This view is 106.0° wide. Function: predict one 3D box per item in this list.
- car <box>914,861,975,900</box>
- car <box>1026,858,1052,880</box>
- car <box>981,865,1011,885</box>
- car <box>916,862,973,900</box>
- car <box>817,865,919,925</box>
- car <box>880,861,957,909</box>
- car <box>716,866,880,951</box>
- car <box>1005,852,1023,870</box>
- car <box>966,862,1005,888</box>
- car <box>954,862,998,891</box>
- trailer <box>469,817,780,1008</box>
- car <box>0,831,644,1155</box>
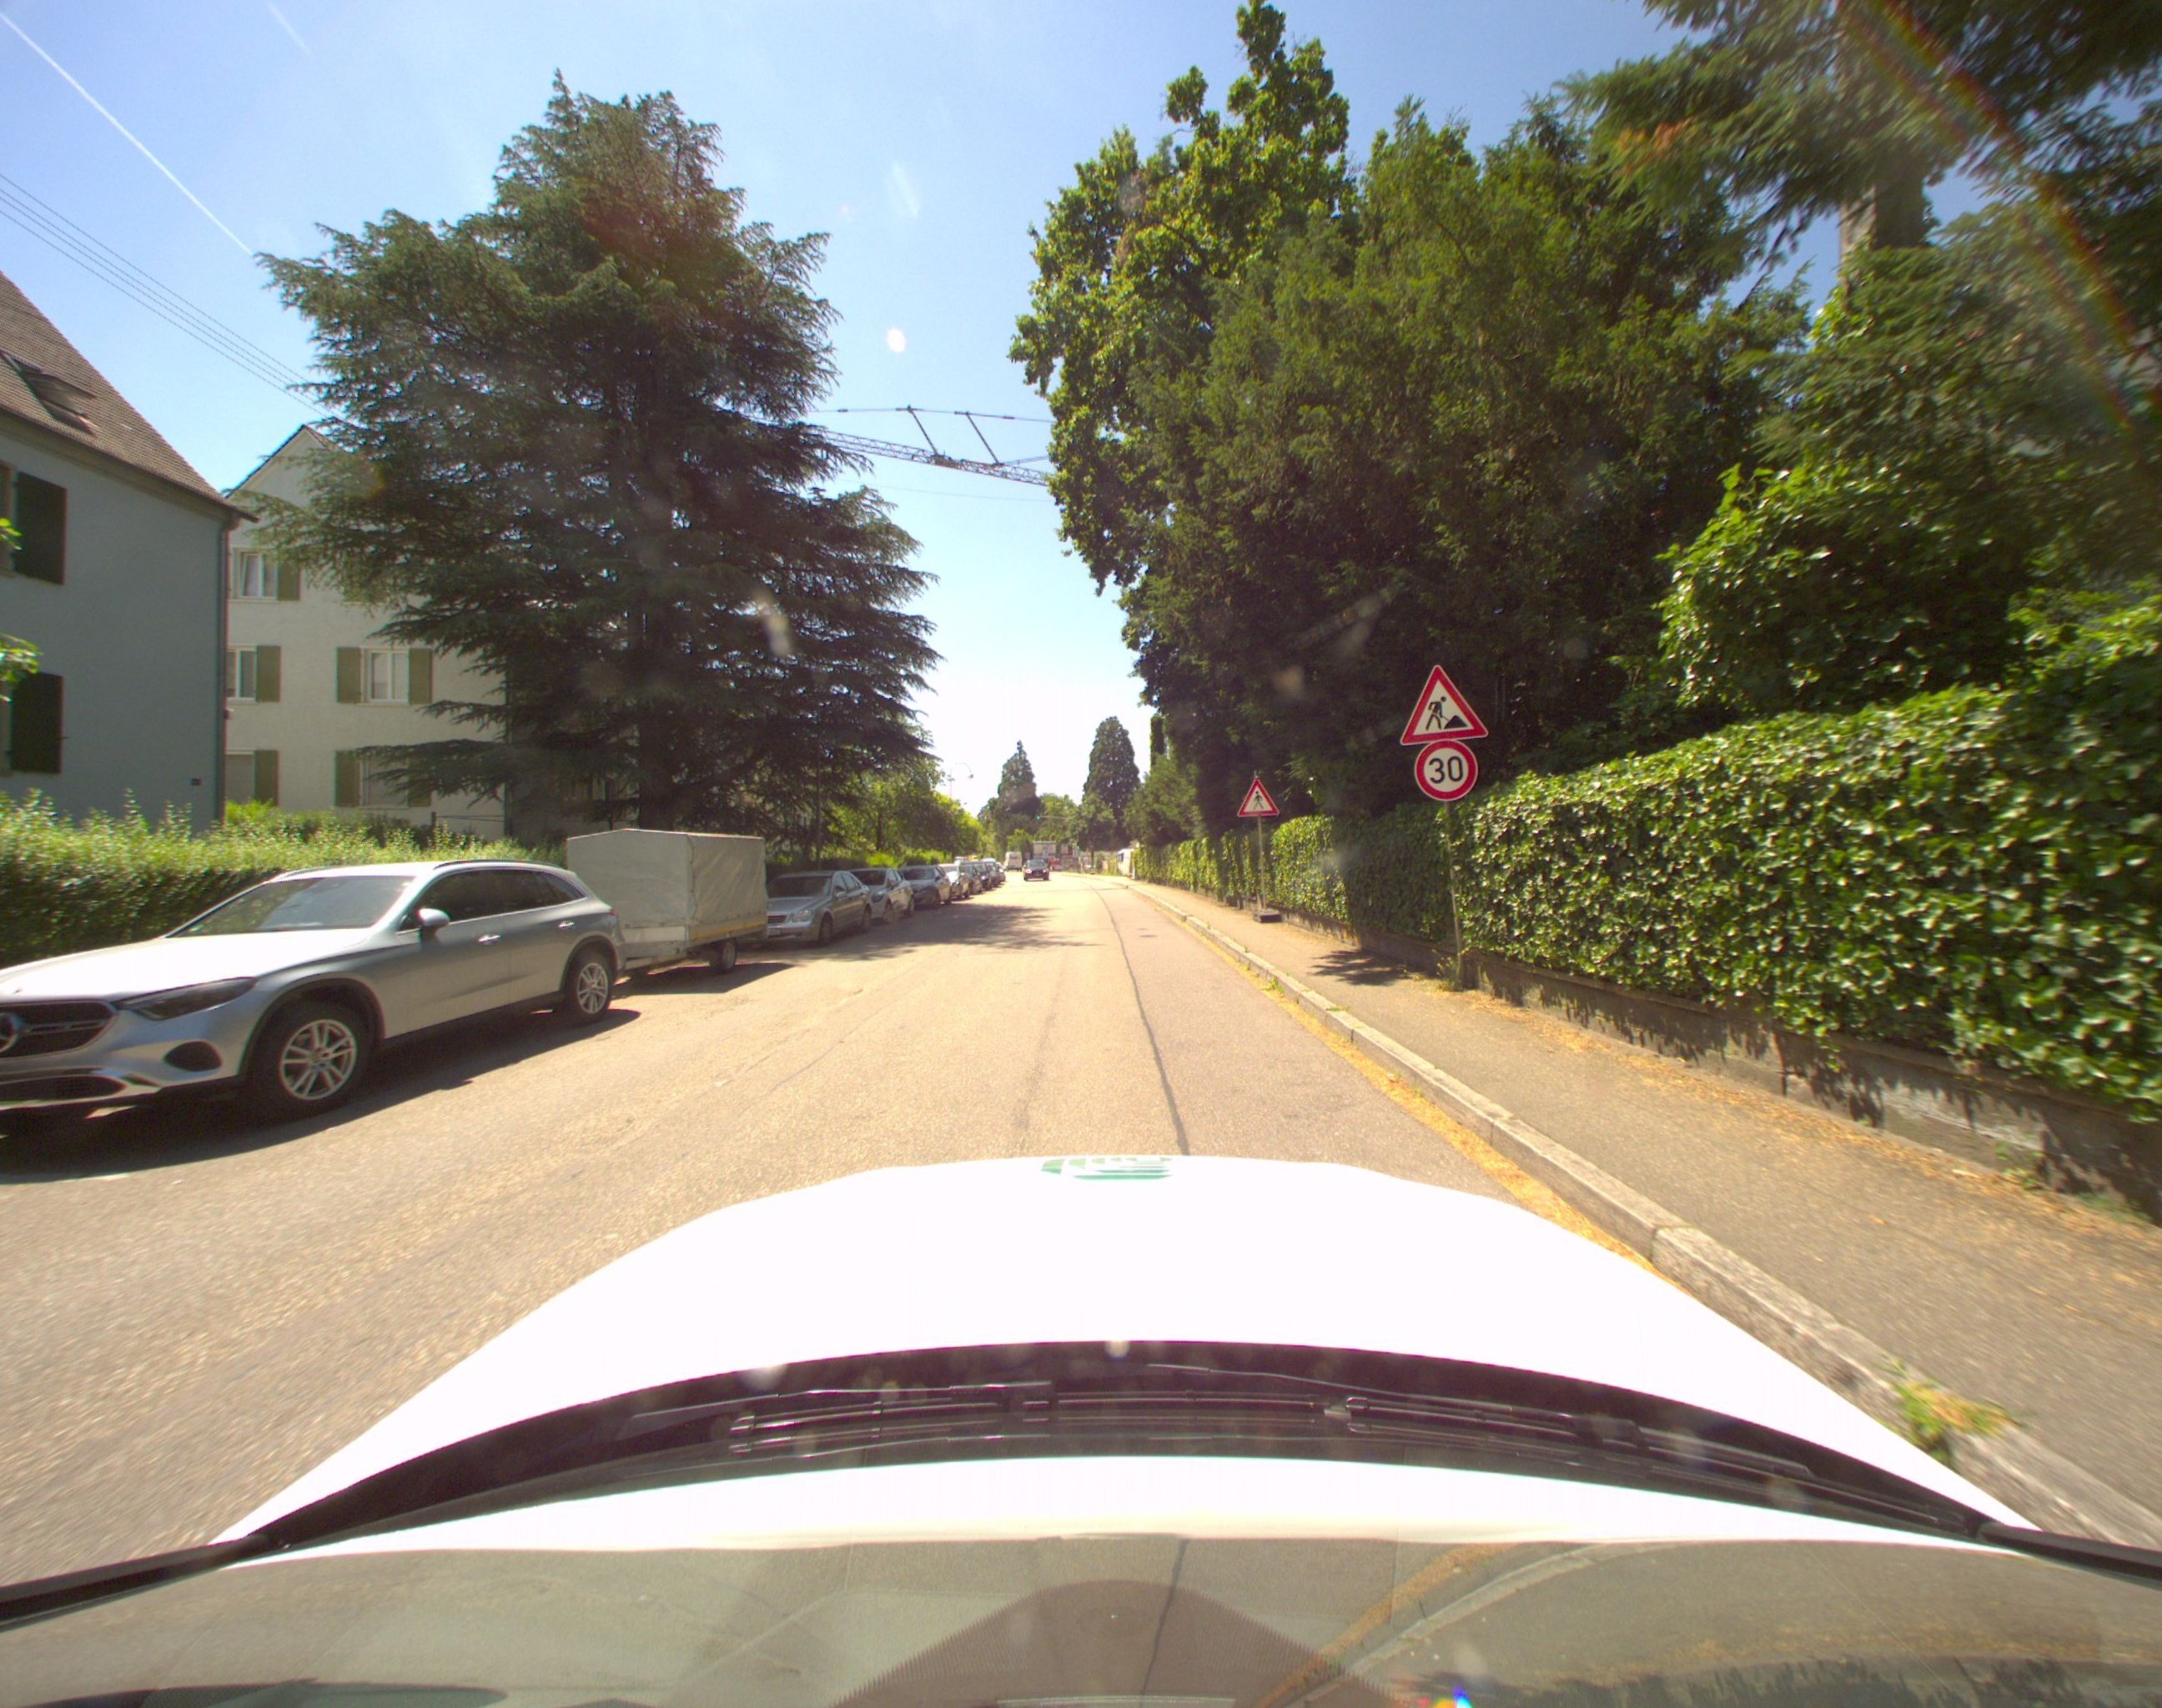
[{"bbox_3d":[-5.574,1.057,33.636,1.682,1.444,4.136,-1,-1,1],"label":"car"},{"bbox_3d":[-3.073,1.104,60.320,1.847,1.584,4.132,-1,-1,-2],"label":"car"},{"bbox_3d":[-6.337,1.561,61.115,1.682,1.444,4.136,-1,-1,1],"label":"car"},{"bbox_3d":[-5.580,1.069,33.714,1.684,1.449,3.998,0,-1,-1],"label":"car"},{"bbox_3d":[-5.550,1.024,21.707,1.577,1.390,3.884,-1,-1,1],"label":"car"},{"bbox_3d":[-5.493,1.006,27.959,1.682,1.444,4.137,-1,0,1],"label":"car"},{"bbox_3d":[-5.578,1.002,16.679,1.703,1.439,4.323,-2,-1,1],"label":"car"},{"bbox_3d":[-9.016,0.901,109.064,2.142,2.315,4.839,-1,-1,-8],"label":"car"},{"bbox_3d":[-5.704,1.228,49.087,1.682,1.444,4.136,-1,-1,1],"label":"car"},{"bbox_3d":[-5.576,1.171,43.784,1.682,1.444,4.136,-1,-1,1],"label":"car"},{"bbox_3d":[-5.805,0.672,11.073,1.842,2.040,4.162,-2,-1,-1],"label":"trailer"},{"bbox_3d":[-5.767,0.782,6.634,1.845,1.671,4.710,-2,-1,-1],"label":"car"}]
